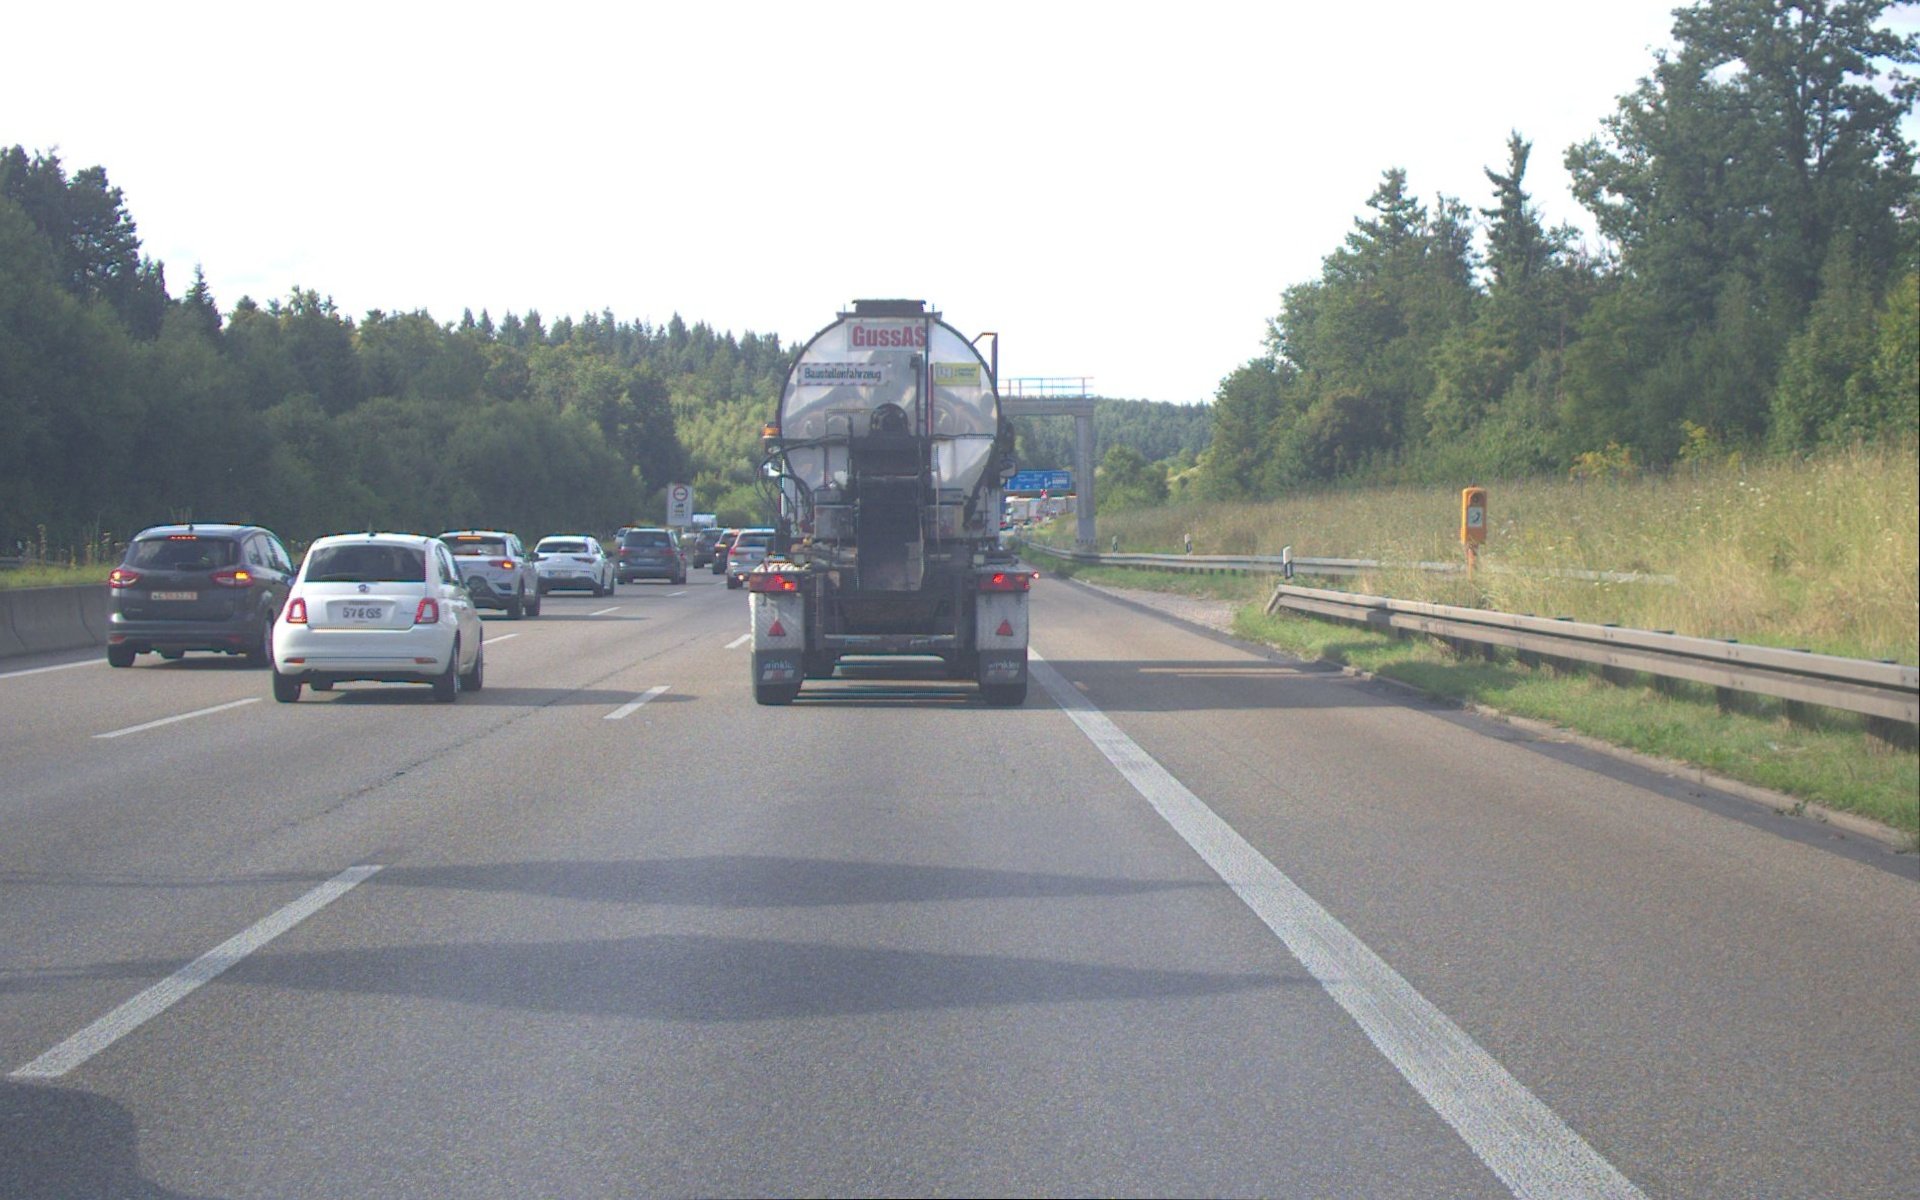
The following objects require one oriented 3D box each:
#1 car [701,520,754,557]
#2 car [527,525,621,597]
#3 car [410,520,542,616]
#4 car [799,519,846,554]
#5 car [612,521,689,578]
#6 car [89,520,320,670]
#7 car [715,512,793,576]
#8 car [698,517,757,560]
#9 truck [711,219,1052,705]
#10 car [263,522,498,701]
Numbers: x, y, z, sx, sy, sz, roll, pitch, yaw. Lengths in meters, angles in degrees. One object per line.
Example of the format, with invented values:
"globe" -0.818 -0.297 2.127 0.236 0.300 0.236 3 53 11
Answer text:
"car" -9.462 -2.514 140.248 1.942 1.451 4.207 1 2 -1
"car" -9.083 -0.948 81.139 1.806 1.580 4.207 1 2 -1
"car" -8.559 -0.602 61.062 1.806 1.580 4.207 1 2 -1
"car" -6.058 -2.823 151.713 1.942 1.451 4.207 1 2 -1
"car" -9.019 -1.498 100.382 1.942 1.580 4.207 1 2 -1
"car" -8.651 -0.105 39.691 1.806 1.580 4.207 1 2 -1
"car" -5.582 -1.535 93.617 1.942 1.649 4.207 1 2 -1
"car" -8.395 -2.234 124.415 1.942 1.451 4.207 1 2 -1
"truck" -0.704 -1.304 35.061 2.912 4.143 11.270 0 1 0
"car" -5.281 0.070 31.668 1.618 1.539 3.520 1 1 -1
